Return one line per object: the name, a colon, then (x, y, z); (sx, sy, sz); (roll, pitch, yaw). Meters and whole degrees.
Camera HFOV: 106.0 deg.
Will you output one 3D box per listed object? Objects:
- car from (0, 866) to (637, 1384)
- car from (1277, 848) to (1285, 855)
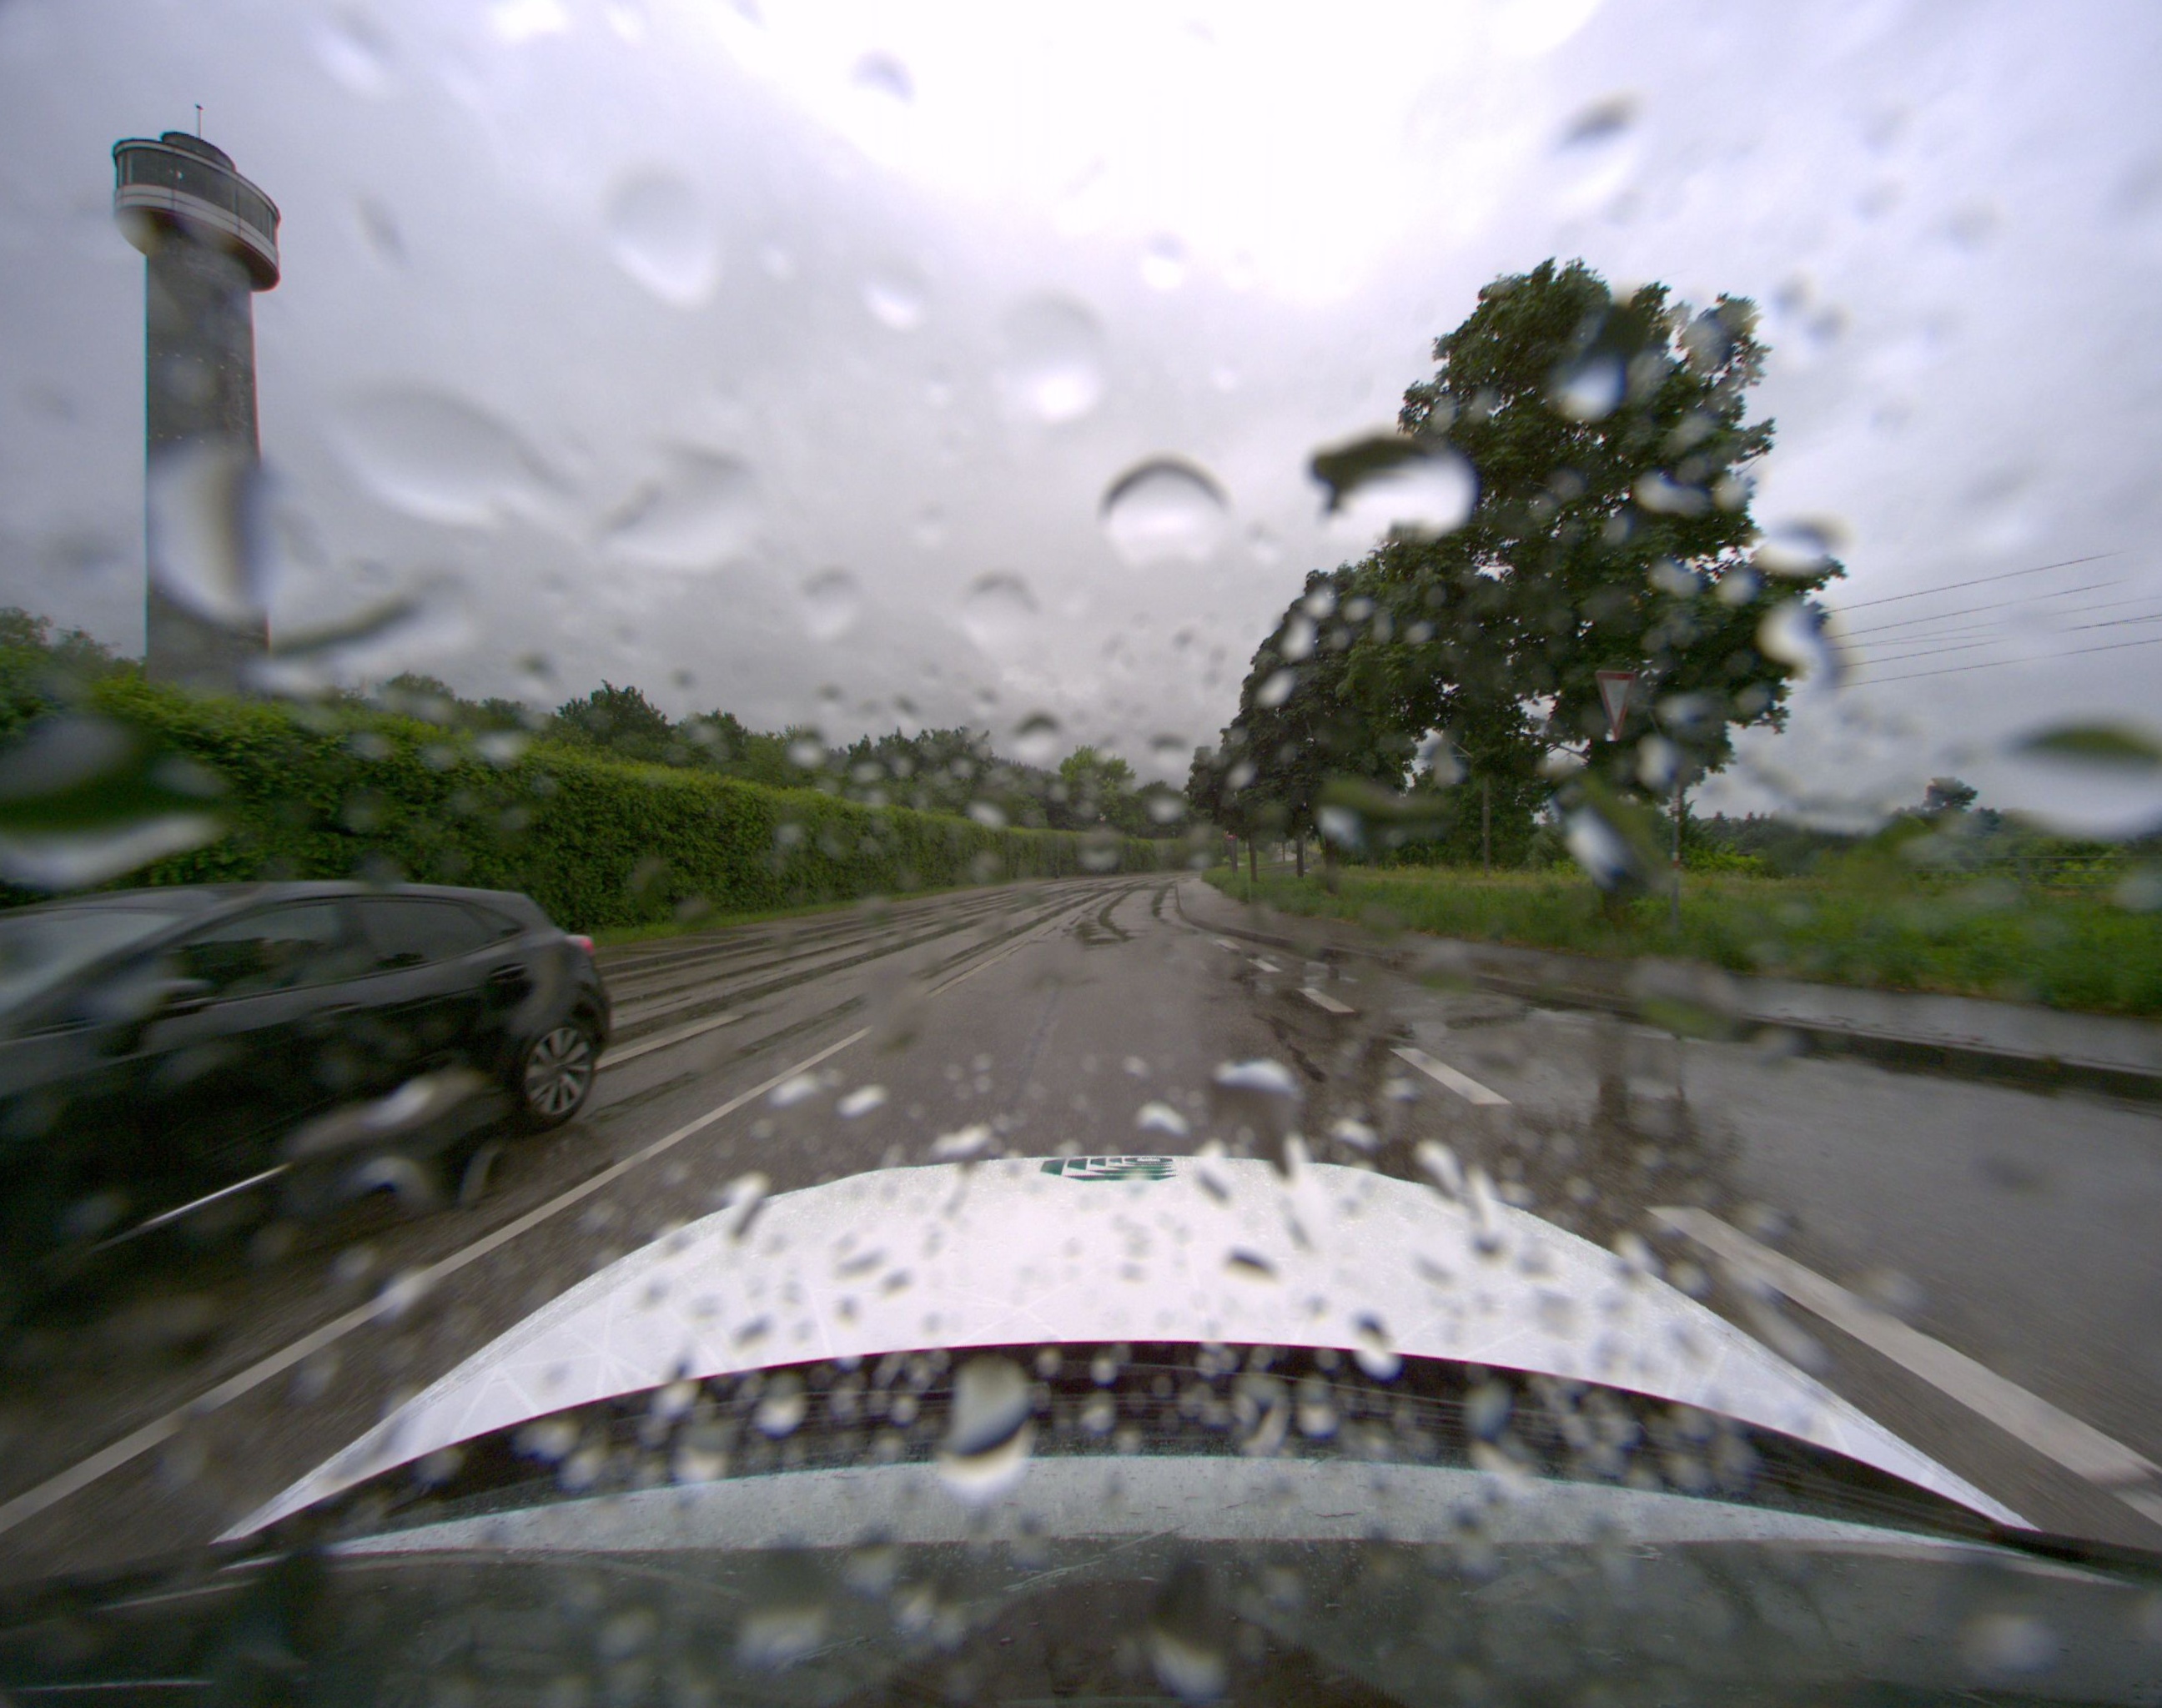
car: (-4.075, 0.860, 3.572); (1.777, 1.505, 4.065); (-2, 0, 4)
car: (60.255, -0.691, 245.403); (1.937, 1.903, 4.140); (-2, 0, 19)
